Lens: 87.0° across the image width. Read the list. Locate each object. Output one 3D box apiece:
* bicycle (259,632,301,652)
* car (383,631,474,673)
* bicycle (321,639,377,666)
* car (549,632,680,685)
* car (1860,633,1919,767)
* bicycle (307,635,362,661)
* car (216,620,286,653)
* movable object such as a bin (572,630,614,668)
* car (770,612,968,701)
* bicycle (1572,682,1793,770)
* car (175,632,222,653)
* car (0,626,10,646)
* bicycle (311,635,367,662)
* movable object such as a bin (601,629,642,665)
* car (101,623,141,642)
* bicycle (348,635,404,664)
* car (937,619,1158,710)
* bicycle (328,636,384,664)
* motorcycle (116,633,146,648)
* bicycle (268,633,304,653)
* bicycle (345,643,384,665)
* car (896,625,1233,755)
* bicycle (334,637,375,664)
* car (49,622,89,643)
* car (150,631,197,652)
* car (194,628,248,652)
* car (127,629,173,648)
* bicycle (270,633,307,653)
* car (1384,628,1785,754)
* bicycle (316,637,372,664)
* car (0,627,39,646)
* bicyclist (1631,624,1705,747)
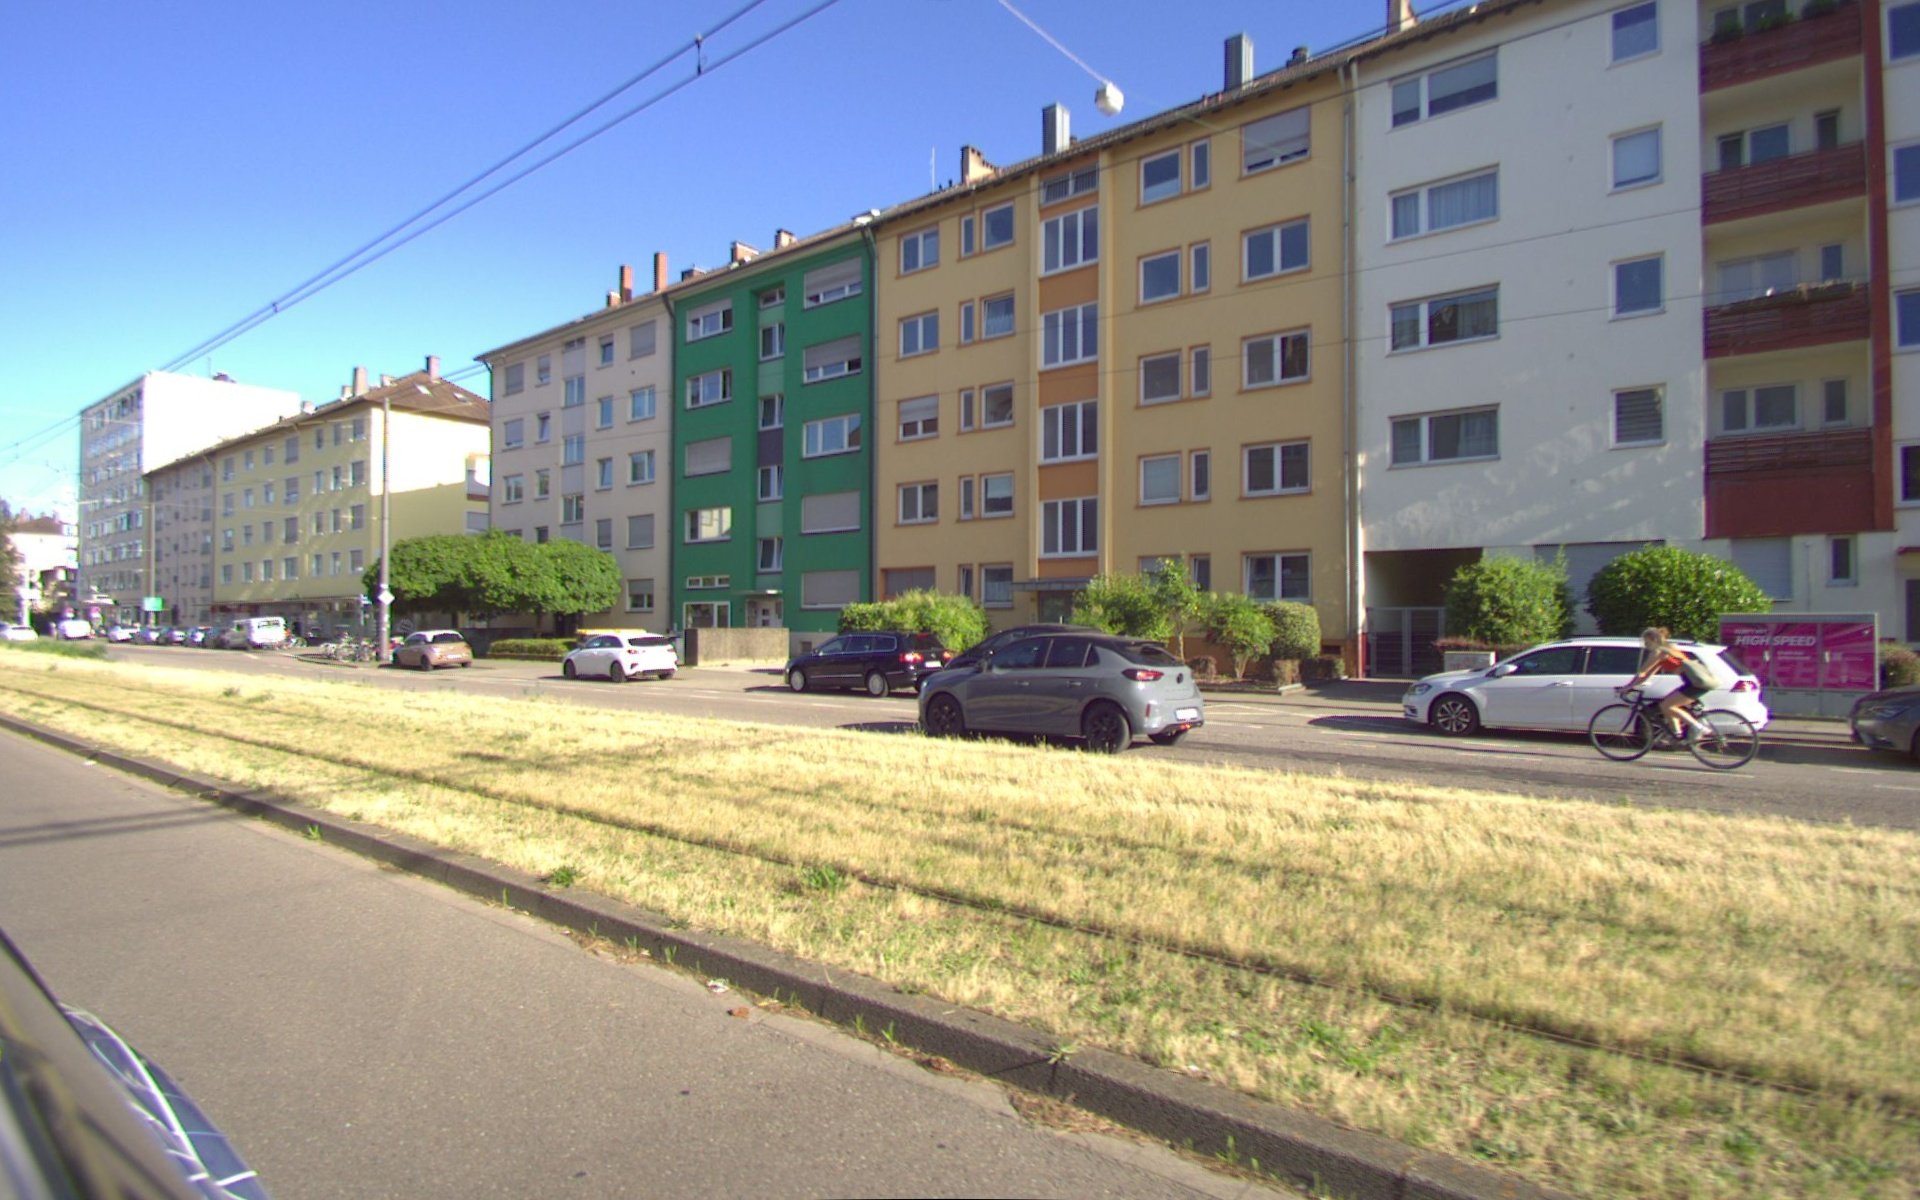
[{"bbox_3d":[-41.933,2.581,62.412,0.472,1.114,2.077,-2,0,39],"label":"bicycle"},{"bbox_3d":[-20.383,1.952,38.747,3.727,1.453,1.621,-2,0,37],"label":"car"},{"bbox_3d":[-27.098,2.317,44.933,0.616,1.101,2.025,-2,0,44],"label":"bicycle"},{"bbox_3d":[-10.508,1.727,30.626,4.371,1.465,1.712,-2,-1,39],"label":"car"},{"bbox_3d":[13.186,1.155,11.423,4.318,1.526,1.679,-1,-1,36],"label":"car"},{"bbox_3d":[-28.633,2.186,46.358,0.616,1.101,2.025,-2,0,44],"label":"bicycle"},{"bbox_3d":[-45.557,2.345,65.015,5.489,1.964,1.976,-2,0,36],"label":"car"},{"bbox_3d":[-14.244,1.887,39.255,1.039,1.378,1.135,-1,1,41],"label":"movable object such as a bin"},{"bbox_3d":[-2.225,1.277,24.009,4.604,1.851,1.974,-2,0,39],"label":"car"},{"bbox_3d":[8.485,1.449,11.957,2.066,0.886,0.760,-2,-4,39],"label":"bicycle"},{"bbox_3d":[-54.147,3.022,71.920,3.763,1.395,1.766,-2,0,39],"label":"car"},{"bbox_3d":[-77.308,2.879,80.361,4.403,1.540,1.768,-2,-3,34],"label":"car"},{"bbox_3d":[-28.141,2.191,45.885,0.616,1.101,2.025,-2,0,44],"label":"bicycle"},{"bbox_3d":[-13.462,1.858,40.277,1.039,1.378,1.135,-1,1,41],"label":"movable object such as a bin"},{"bbox_3d":[-69.699,2.710,84.047,4.194,1.497,1.742,-2,0,39],"label":"car"},{"bbox_3d":[-25.282,2.131,43.840,2.019,1.101,0.617,-2,0,-24],"label":"bicycle"},{"bbox_3d":[1.759,1.265,20.924,4.146,1.620,1.974,-2,0,39],"label":"car"},{"bbox_3d":[-26.531,2.167,44.466,0.616,1.101,2.025,-2,0,44],"label":"bicycle"},{"bbox_3d":[-66.611,3.252,81.331,0.481,1.147,2.109,-2,0,5],"label":"motorcycle"},{"bbox_3d":[-40.884,2.609,61.400,0.390,1.114,1.801,-2,0,39],"label":"bicycle"},{"bbox_3d":[-25.178,2.279,42.805,2.044,0.872,0.374,-2,0,28],"label":"bicycle"},{"bbox_3d":[1.266,1.090,13.367,4.213,1.459,1.677,-2,-4,40],"label":"car"},{"bbox_3d":[-25.241,2.097,42.168,1.926,1.101,0.506,-2,0,28],"label":"bicycle"},{"bbox_3d":[-86.511,3.164,98.242,4.662,1.912,1.975,-2,0,37],"label":"car"},{"bbox_3d":[-58.690,3.057,75.456,4.409,1.431,1.766,-2,0,39],"label":"car"},{"bbox_3d":[-50.027,2.674,68.459,4.590,1.485,1.766,-2,0,39],"label":"car"},{"bbox_3d":[-63.015,2.968,78.707,4.407,1.395,1.767,-2,0,37],"label":"car"},{"bbox_3d":[-40.561,2.587,61.131,0.390,1.114,1.801,-2,0,39],"label":"bicycle"},{"bbox_3d":[8.894,1.206,14.727,4.695,1.503,1.875,-2,0,37],"label":"car"},{"bbox_3d":[-27.639,2.246,45.415,0.616,1.101,2.025,-2,0,44],"label":"bicycle"},{"bbox_3d":[-71.767,2.770,76.728,4.401,1.395,1.819,-2,-3,33],"label":"car"},{"bbox_3d":[8.407,0.987,12.015,0.647,1.394,0.765,-2,-3,39],"label":"bicyclist"}]
